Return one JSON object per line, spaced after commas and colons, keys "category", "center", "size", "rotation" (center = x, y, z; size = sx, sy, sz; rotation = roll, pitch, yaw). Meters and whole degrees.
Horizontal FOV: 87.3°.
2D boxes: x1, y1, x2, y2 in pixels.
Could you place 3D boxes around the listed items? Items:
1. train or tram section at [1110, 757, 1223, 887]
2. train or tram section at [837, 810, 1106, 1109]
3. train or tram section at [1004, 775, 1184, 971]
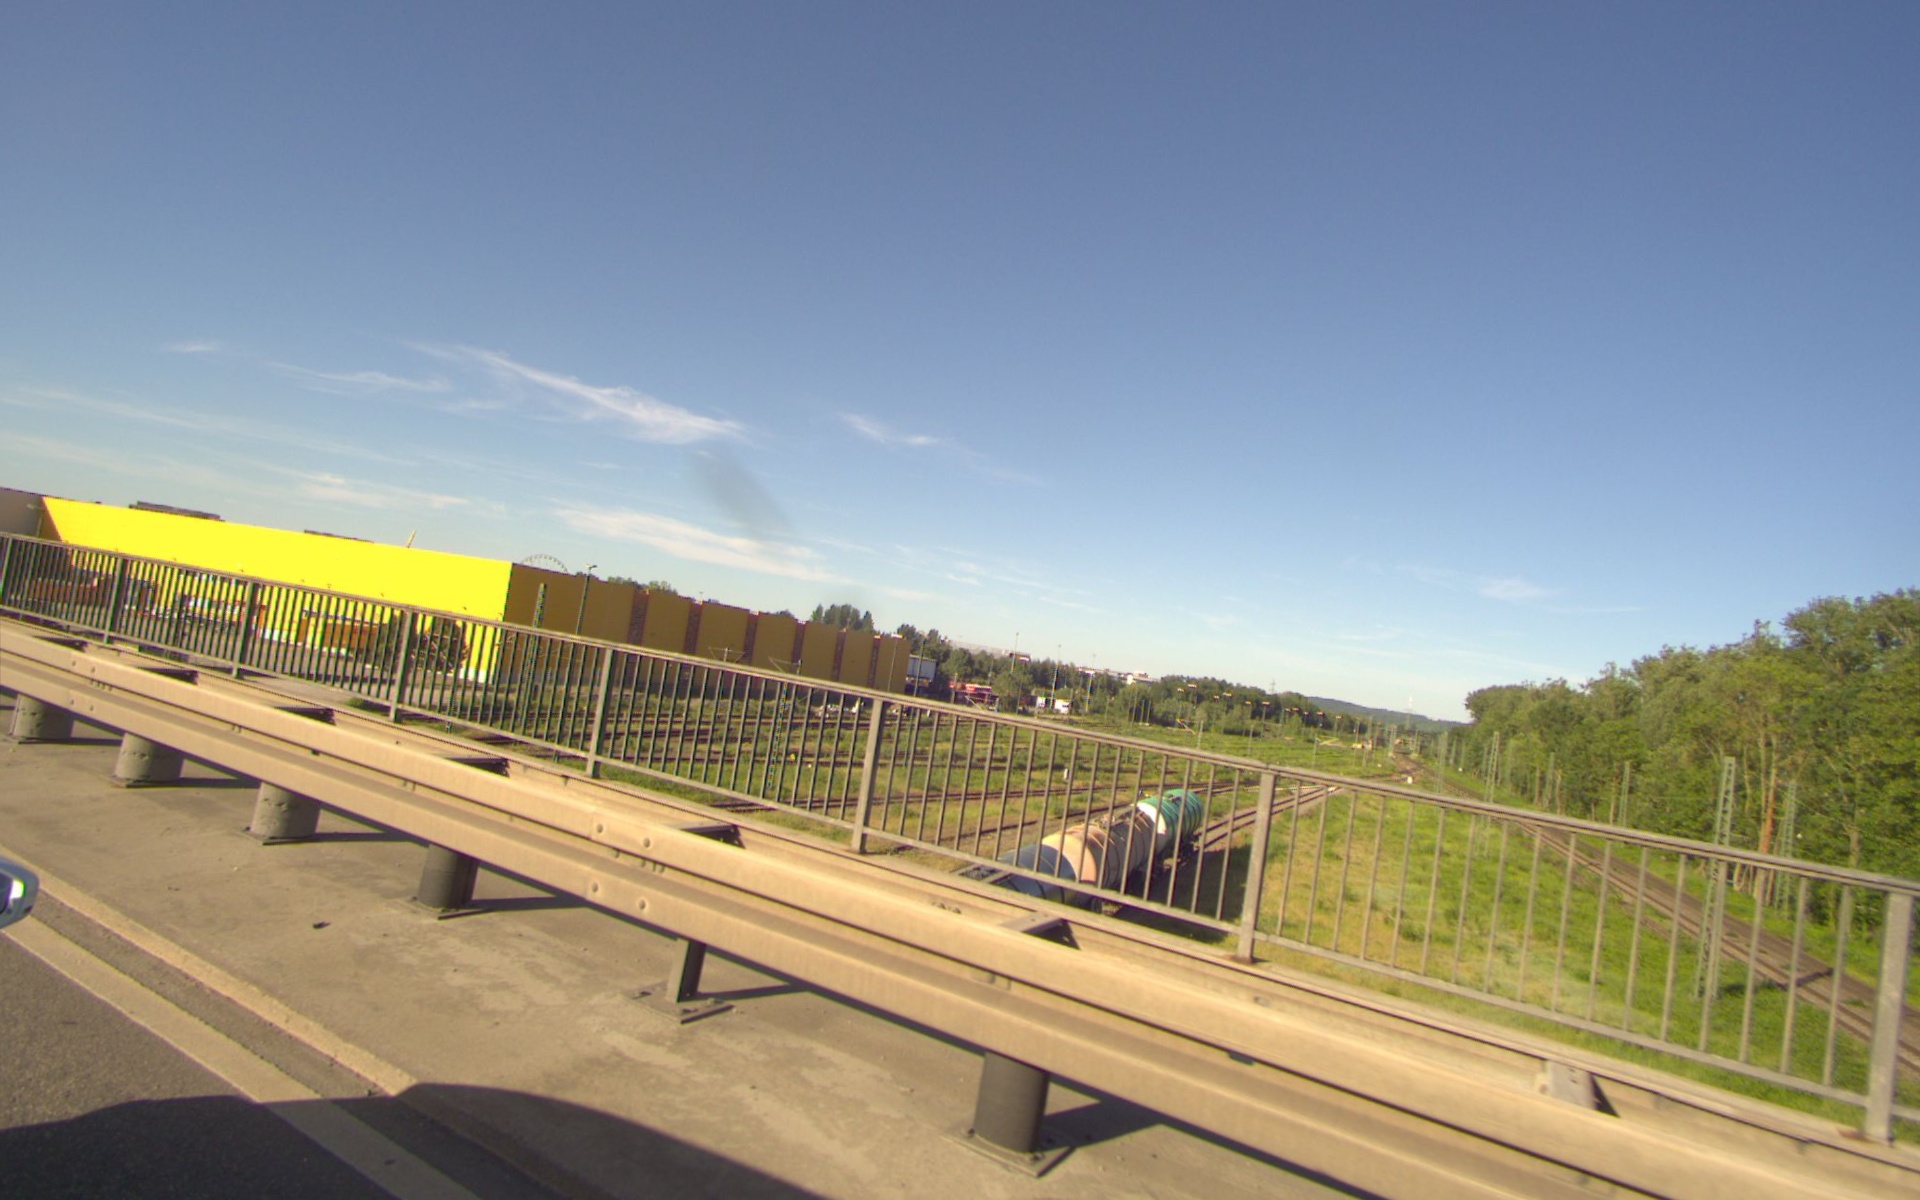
{"category": "train or tram section", "center": [12.728, 12.812, 60.299], "size": [3.276, 5.243, 15.185], "rotation": [7, -2, 22]}
{"category": "train or tram section", "center": [1.096, 10.298, 31.605], "size": [3.276, 5.326, 13.090], "rotation": [7, -2, 22]}
{"category": "train or tram section", "center": [6.696, 11.510, 45.468], "size": [3.276, 5.322, 16.888], "rotation": [7, -2, 22]}
